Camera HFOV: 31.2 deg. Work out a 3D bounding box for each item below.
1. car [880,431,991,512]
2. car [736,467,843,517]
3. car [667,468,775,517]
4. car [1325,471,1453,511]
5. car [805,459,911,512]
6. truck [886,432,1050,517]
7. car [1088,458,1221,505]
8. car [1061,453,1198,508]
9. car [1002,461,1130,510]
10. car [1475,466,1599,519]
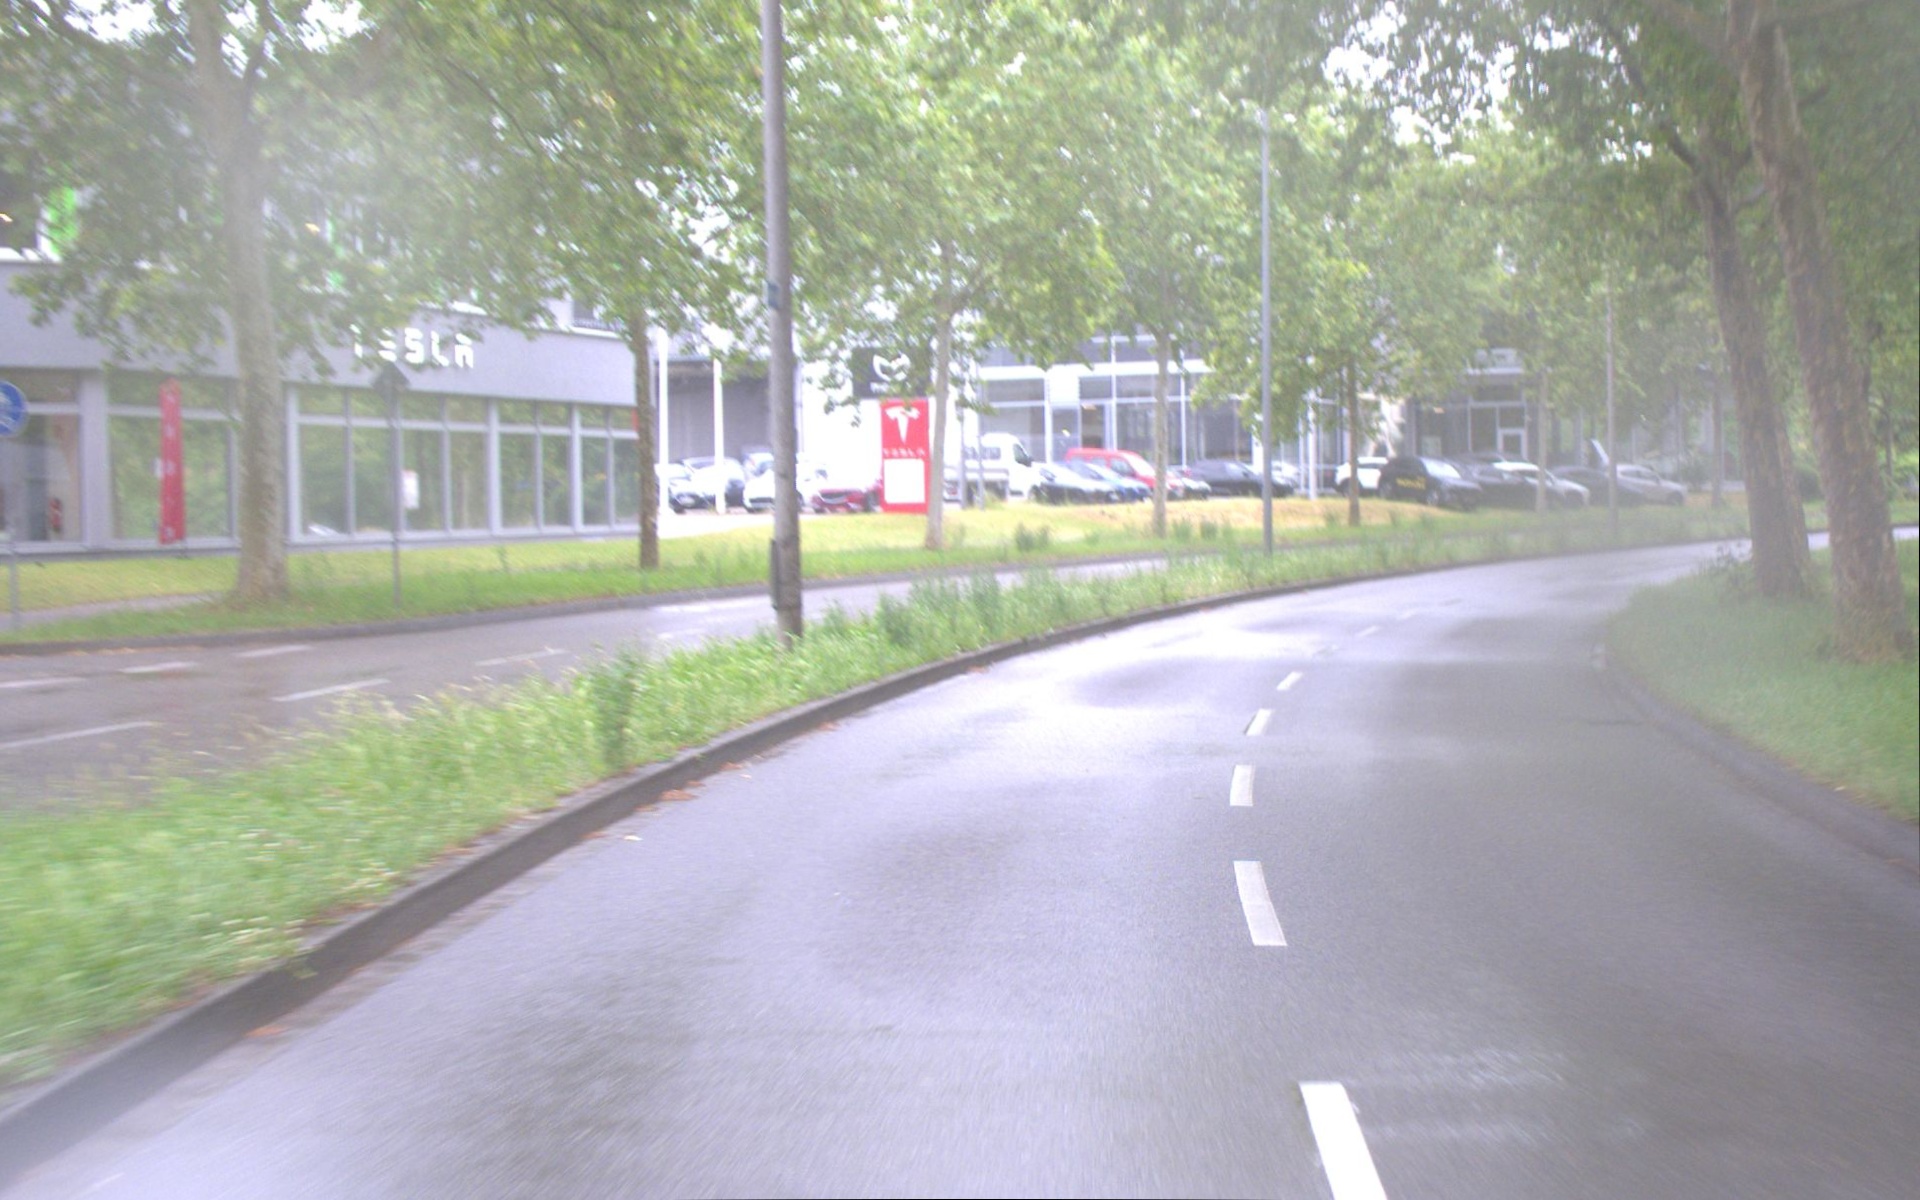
[{"bbox_3d":[-0.911,-4.594,122.470,2.163,2.742,5.341,0,3,-21],"label":"car"},{"bbox_3d":[-5.275,-3.382,106.796,1.764,1.392,4.153,2,4,21],"label":"car"},{"bbox_3d":[-7.463,-3.388,107.685,1.764,1.392,4.153,2,4,21],"label":"car"},{"bbox_3d":[16.216,-4.141,129.902,4.428,1.468,1.917,1,2,25],"label":"car"},{"bbox_3d":[-3.087,-3.505,104.936,1.764,1.462,4.153,2,4,21],"label":"car"},{"bbox_3d":[0.286,-3.835,104.018,2.250,2.336,6.185,4,5,28],"label":"truck"},{"bbox_3d":[6.502,-3.967,114.807,4.002,1.352,1.845,4,5,28],"label":"car"},{"bbox_3d":[5.532,-3.912,112.137,4.002,1.551,1.845,4,5,28],"label":"car"},{"bbox_3d":[3.319,-3.585,107.649,3.528,1.322,1.766,4,5,28],"label":"car"},{"bbox_3d":[21.800,-4.075,129.927,4.115,1.473,1.849,5,7,-11],"label":"car"}]
